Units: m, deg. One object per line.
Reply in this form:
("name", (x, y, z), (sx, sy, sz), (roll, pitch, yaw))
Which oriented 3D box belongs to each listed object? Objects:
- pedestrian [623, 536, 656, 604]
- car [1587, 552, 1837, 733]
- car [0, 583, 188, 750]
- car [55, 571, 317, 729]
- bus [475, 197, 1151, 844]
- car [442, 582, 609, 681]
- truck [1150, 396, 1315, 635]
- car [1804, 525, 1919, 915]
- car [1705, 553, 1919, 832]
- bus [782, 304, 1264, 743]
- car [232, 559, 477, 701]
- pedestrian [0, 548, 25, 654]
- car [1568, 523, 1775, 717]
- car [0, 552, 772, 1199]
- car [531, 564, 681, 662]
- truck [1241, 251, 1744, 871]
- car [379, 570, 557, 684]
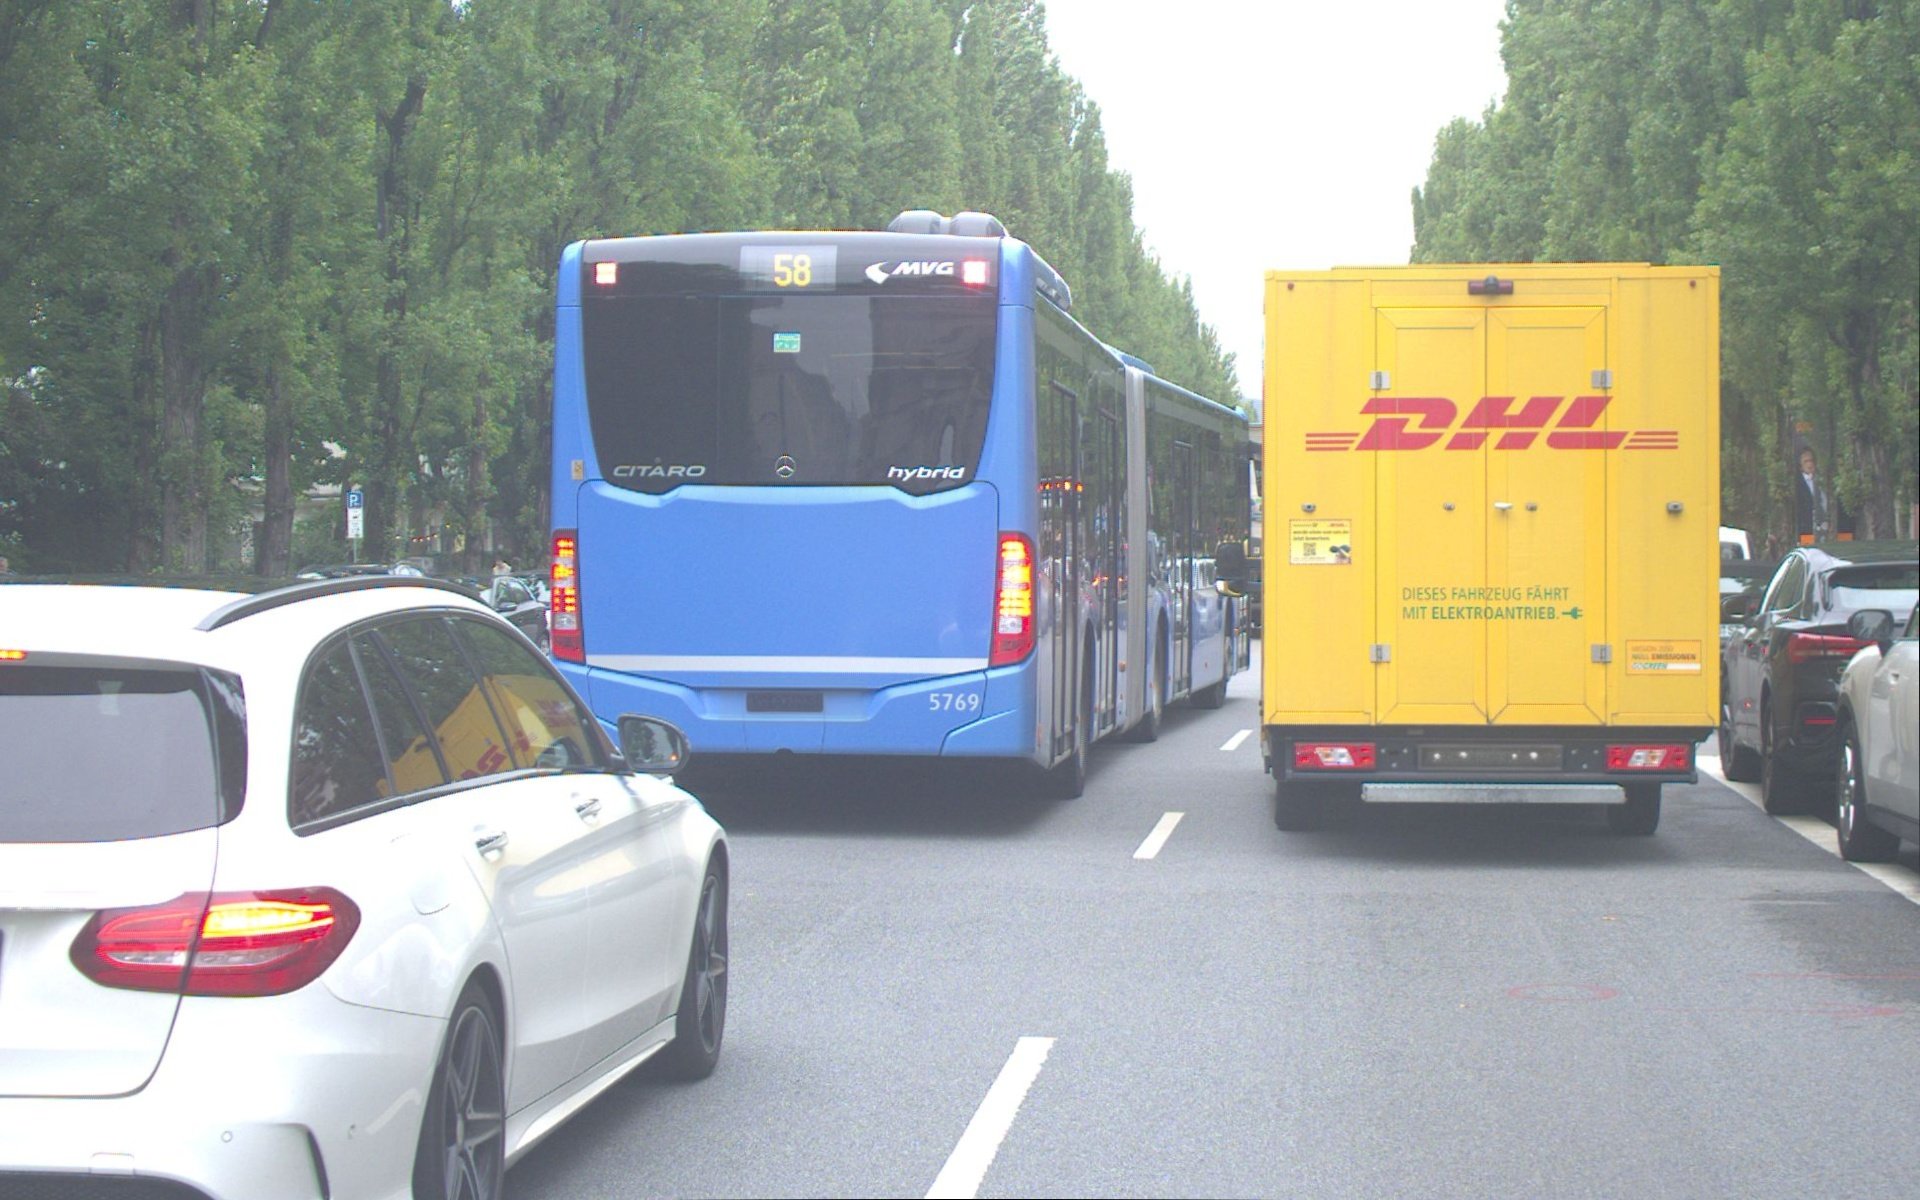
("pedestrian", (-9.564, -0.905, 102.721), (0.830, 2.007, 0.778), (-1, 1, 4))
("car", (6.825, 0.341, 31.552), (1.863, 1.546, 3.999), (0, 1, 7))
("car", (-8.639, 0.594, 31.878), (1.685, 1.408, 4.004), (-2, 0, 5))
("car", (-8.122, 0.480, 36.431), (1.743, 1.513, 4.118), (-2, 0, 1))
("bus", (-0.501, -0.466, 21.684), (2.856, 3.202, 9.057), (0, 1, 7))
("car", (-6.569, 0.451, 52.327), (1.675, 1.408, 3.999), (-1, 1, 5))
("truck", (4.867, -1.478, 61.927), (2.716, 3.952, 9.217), (-1, 1, 4))
("car", (4.888, 0.493, 14.894), (1.781, 1.576, 4.146), (2, 1, 6))
("car", (5.533, 0.467, 20.510), (1.726, 1.490, 4.323), (0, 1, 7))
("bus", (0.888, -0.636, 30.888), (2.873, 3.292, 9.785), (0, 1, 10))
("car", (-7.328, 0.323, 42.035), (1.791, 1.542, 4.338), (-3, 0, 5))
("pedestrian", (-15.823, 0.022, 56.635), (0.599, 1.733, 0.640), (-1, 1, 6))
("car", (7.592, 0.173, 37.011), (1.806, 1.969, 4.235), (0, 1, 7))
("car", (-1.721, 0.618, 7.960), (1.826, 1.449, 4.581), (1, 1, 6))
("car", (-5.806, 0.186, 56.779), (1.708, 1.542, 3.999), (-1, 1, 5))
("truck", (2.849, -0.223, 19.775), (2.328, 2.888, 7.331), (0, 1, 6))
("car", (-6.832, 0.348, 48.086), (1.539, 1.428, 3.869), (-3, 0, 5))
